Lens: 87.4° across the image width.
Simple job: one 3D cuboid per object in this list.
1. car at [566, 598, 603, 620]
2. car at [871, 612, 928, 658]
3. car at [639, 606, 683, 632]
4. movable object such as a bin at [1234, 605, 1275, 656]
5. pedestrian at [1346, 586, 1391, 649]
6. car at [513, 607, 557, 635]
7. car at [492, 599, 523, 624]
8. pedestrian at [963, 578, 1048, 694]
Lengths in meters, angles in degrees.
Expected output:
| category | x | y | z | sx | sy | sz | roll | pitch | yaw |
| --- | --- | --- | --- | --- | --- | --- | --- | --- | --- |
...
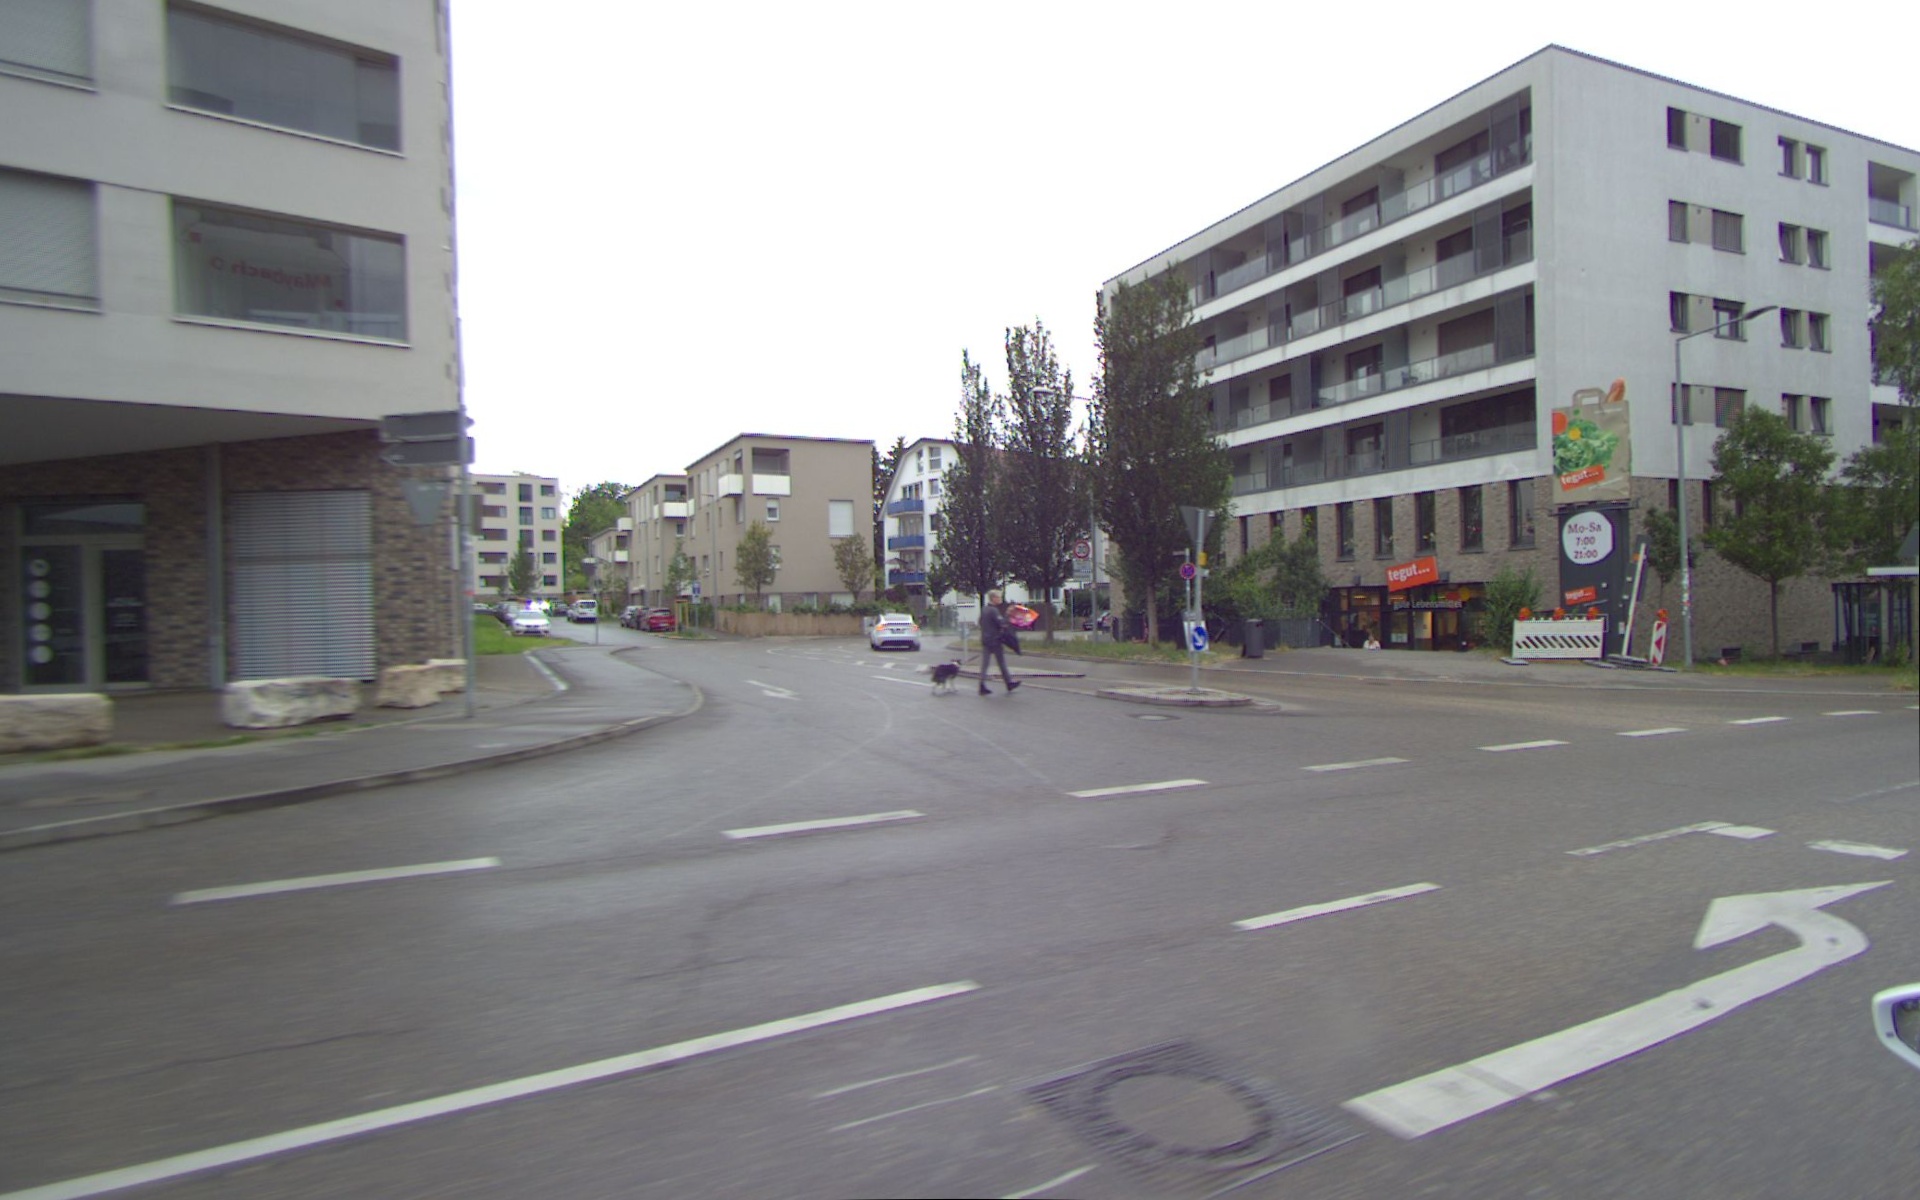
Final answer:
| category | x | y | z | sx | sy | sz | roll | pitch | yaw |
| --- | --- | --- | --- | --- | --- | --- | --- | --- | --- |
| car | -30.918 | 0.730 | 82.595 | 1.980 | 1.773 | 3.961 | 1 | -1 | -35 |
| car | -2.505 | 1.367 | 40.417 | 2.025 | 1.683 | 4.816 | 1 | -1 | -6 |
| car | -18.539 | 1.160 | 62.151 | 1.974 | 1.503 | 3.972 | 1 | 0 | -27 |
| movable object such as a bin | 8.122 | 0.834 | 27.686 | 0.812 | 1.381 | 0.712 | 1 | 0 | -30 |
| pedestrian | 13.434 | 0.566 | 33.059 | 1.105 | 2.040 | 0.878 | 1 | 1 | -32 |
| car | -22.209 | 1.055 | 52.365 | 1.973 | 1.320 | 4.124 | 1 | 0 | -25 |
| car | -33.217 | 0.836 | 73.693 | 1.974 | 1.773 | 3.973 | 1 | -1 | -26 |
| pedestrian | 0.835 | 0.638 | 18.404 | 1.092 | 2.040 | 1.044 | 2 | -1 | -44 |
